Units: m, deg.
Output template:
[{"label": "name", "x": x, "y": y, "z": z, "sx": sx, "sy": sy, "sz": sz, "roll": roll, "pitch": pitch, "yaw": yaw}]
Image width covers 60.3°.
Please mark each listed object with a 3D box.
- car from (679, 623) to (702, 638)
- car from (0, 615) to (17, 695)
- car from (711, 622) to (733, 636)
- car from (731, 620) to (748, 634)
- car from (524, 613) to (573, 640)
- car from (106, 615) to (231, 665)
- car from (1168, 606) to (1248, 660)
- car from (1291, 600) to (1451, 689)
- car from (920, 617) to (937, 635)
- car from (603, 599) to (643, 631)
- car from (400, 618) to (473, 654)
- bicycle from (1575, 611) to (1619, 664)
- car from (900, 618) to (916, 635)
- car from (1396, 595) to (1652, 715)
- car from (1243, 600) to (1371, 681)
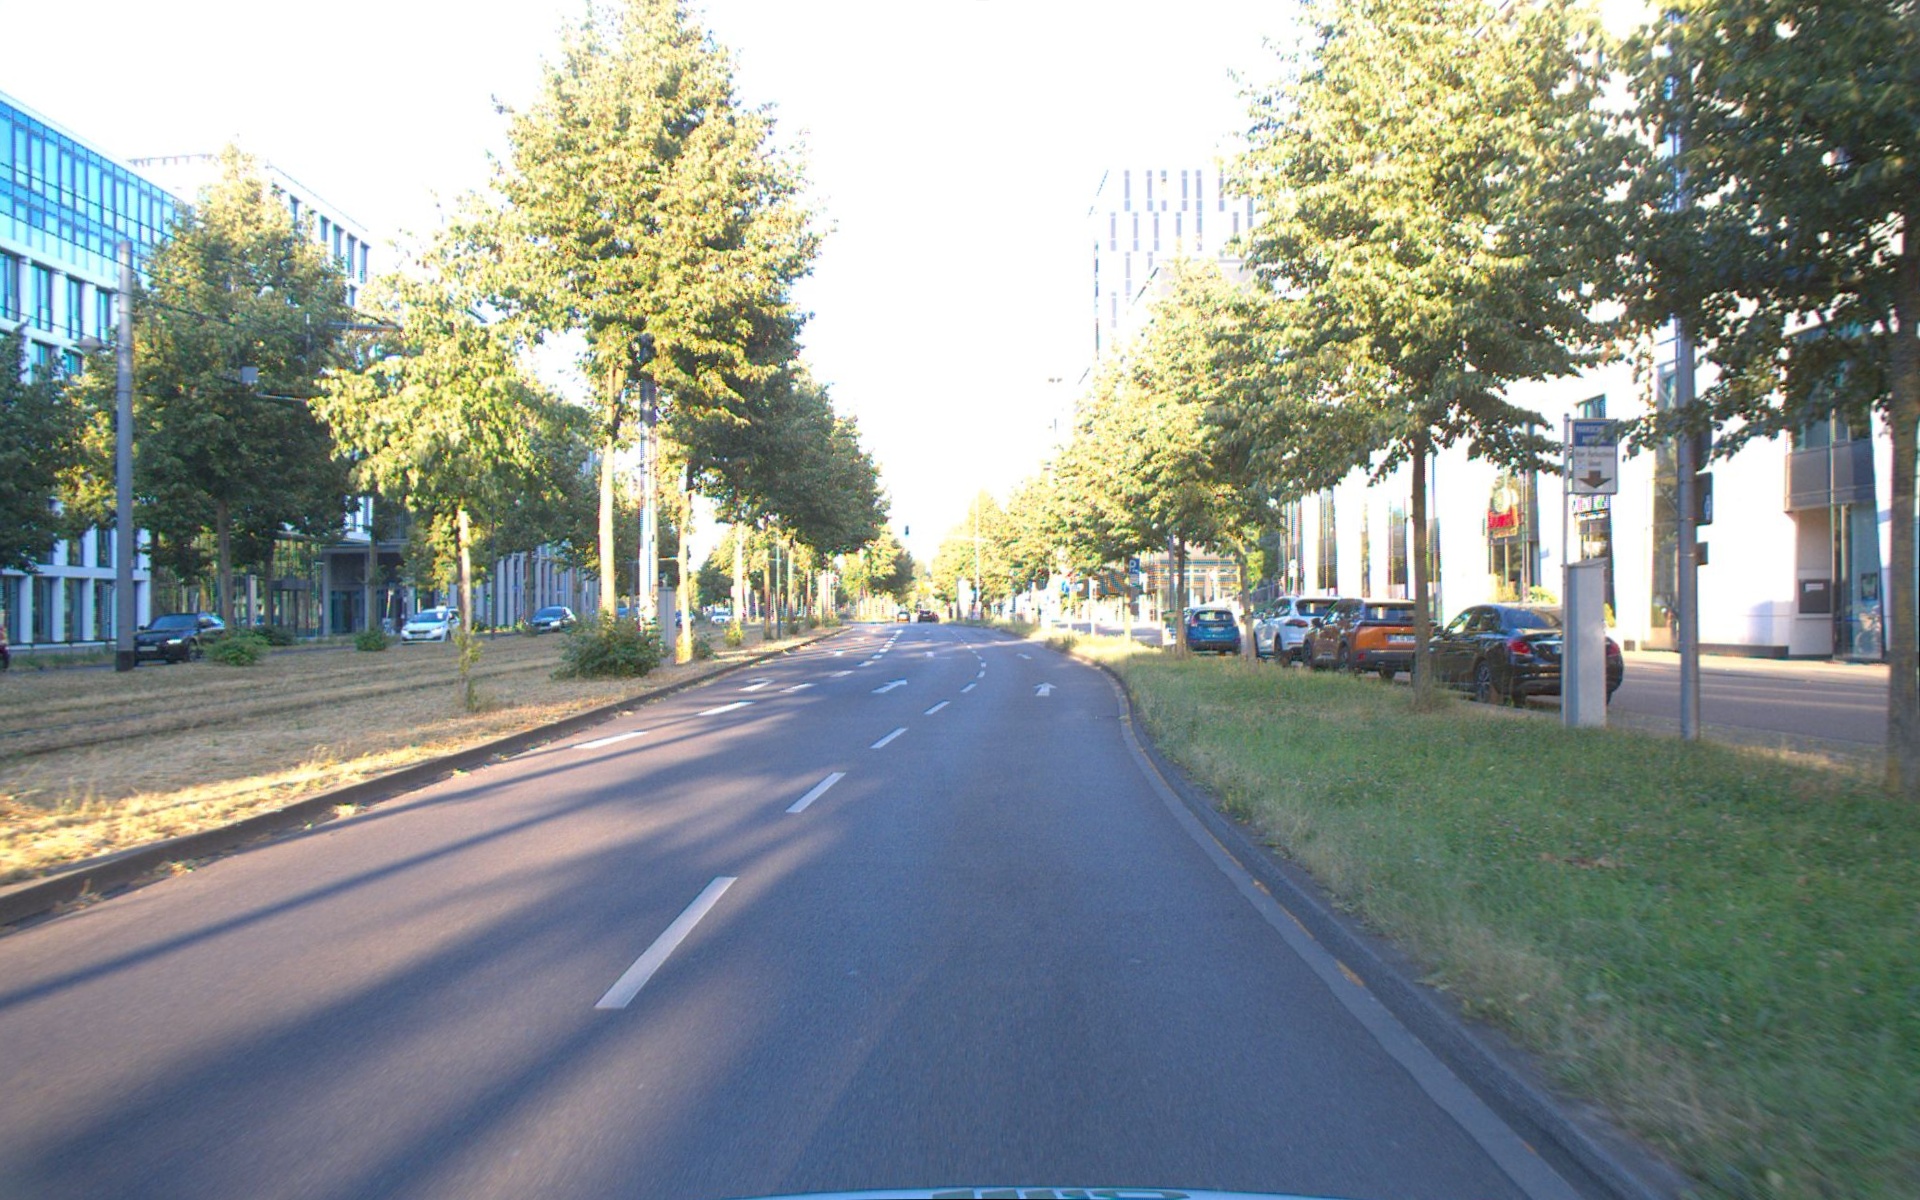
[{"label": "car", "x": -24.984, "y": 2.807, "z": 153.565, "sx": 1.624, "sy": 1.355, "sz": 4.581, "roll": 0, "pitch": -1, "yaw": -3}, {"label": "car", "x": -20.081, "y": 1.094, "z": 31.631, "sx": 1.847, "sy": 1.605, "sz": 4.179, "roll": -1, "pitch": -1, "yaw": -3}, {"label": "car", "x": -22.774, "y": 2.769, "z": 158.307, "sx": 1.751, "sy": 1.355, "sz": 3.669, "roll": -1, "pitch": -1, "yaw": -3}, {"label": "car", "x": -25.901, "y": 3.183, "z": 194.306, "sx": 1.693, "sy": 1.617, "sz": 3.513, "roll": -1, "pitch": -1, "yaw": -2}, {"label": "car", "x": -21.586, "y": 1.359, "z": 86.865, "sx": 1.624, "sy": 1.355, "sz": 4.739, "roll": -1, "pitch": -1, "yaw": -3}, {"label": "car", "x": -22.695, "y": 1.117, "z": 47.591, "sx": 1.624, "sy": 1.355, "sz": 4.471, "roll": -1, "pitch": -1, "yaw": -3}, {"label": "car", "x": 7.480, "y": 0.987, "z": 50.249, "sx": 1.689, "sy": 1.556, "sz": 4.266, "roll": 1, "pitch": -1, "yaw": -2}, {"label": "car", "x": 7.732, "y": 0.815, "z": 31.527, "sx": 1.817, "sy": 1.556, "sz": 4.481, "roll": 1, "pitch": -1, "yaw": -2}, {"label": "car", "x": -3.824, "y": 3.139, "z": 198.243, "sx": 1.953, "sy": 2.049, "sz": 3.998, "roll": 0, "pitch": 0, "yaw": -2}, {"label": "car", "x": -22.534, "y": 1.032, "z": 110.765, "sx": 1.953, "sy": 2.049, "sz": 3.998, "roll": -1, "pitch": -1, "yaw": -2}, {"label": "car", "x": -20.731, "y": 1.404, "z": 65.674, "sx": 1.624, "sy": 1.355, "sz": 4.527, "roll": -1, "pitch": -1, "yaw": -3}, {"label": "bicycle", "x": 14.609, "y": 0.838, "z": 37.966, "sx": 0.558, "sy": 1.144, "sz": 1.835, "roll": -3, "pitch": 0, "yaw": 10}, {"label": "car", "x": -6.700, "y": 3.426, "z": 213.836, "sx": 2.045, "sy": 2.049, "sz": 3.998, "roll": -1, "pitch": 0, "yaw": -2}, {"label": "car", "x": 8.106, "y": 0.758, "z": 24.298, "sx": 1.905, "sy": 1.576, "sz": 4.808, "roll": 1, "pitch": -1, "yaw": -3}, {"label": "car", "x": 8.075, "y": 0.916, "z": 38.942, "sx": 1.911, "sy": 1.744, "sz": 5.158, "roll": 1, "pitch": -1, "yaw": 0}]
